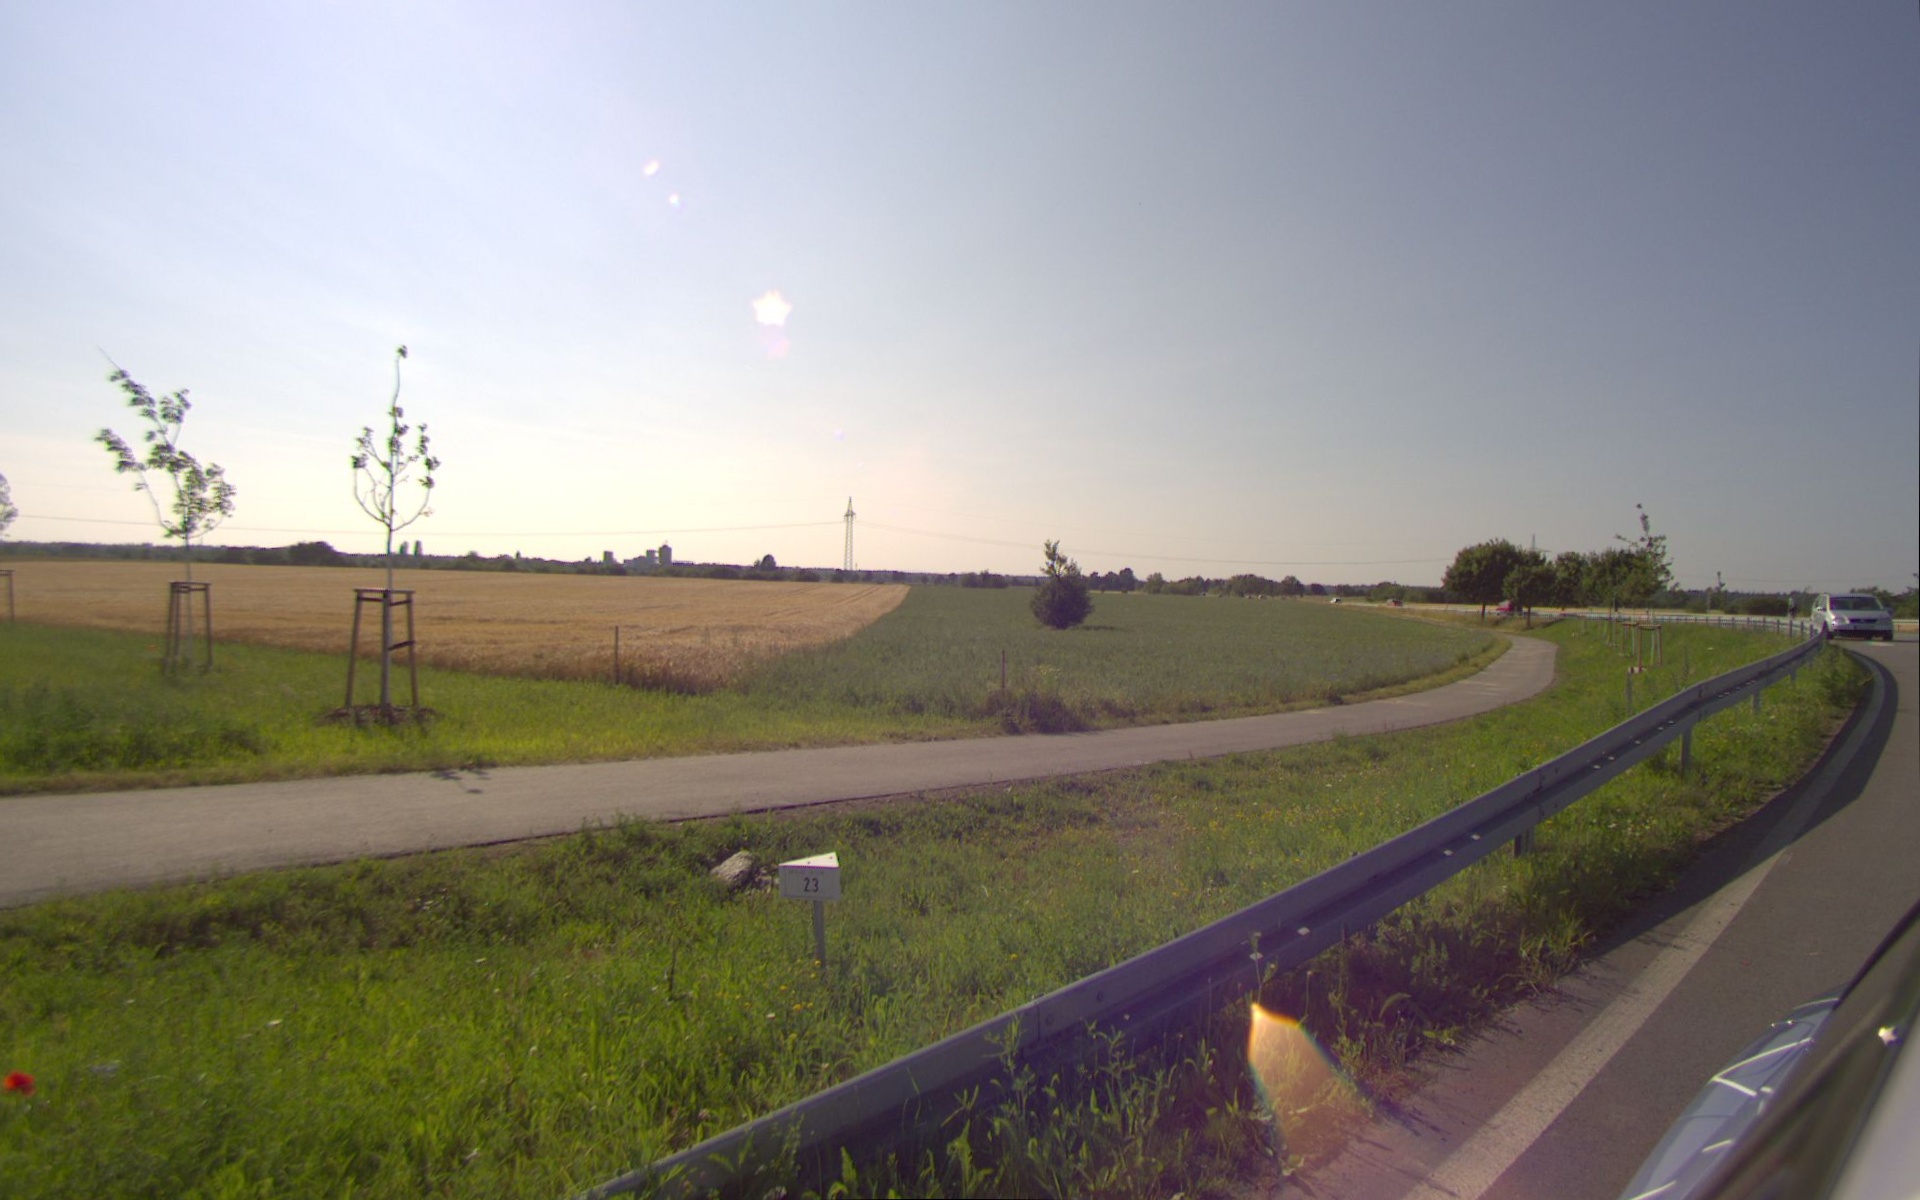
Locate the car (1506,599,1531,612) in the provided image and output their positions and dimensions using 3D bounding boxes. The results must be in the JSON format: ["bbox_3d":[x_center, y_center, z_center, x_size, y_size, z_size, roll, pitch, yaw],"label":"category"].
[{"bbox_3d":[73.008,0.725,132.307,1.788,1.694,3.984,0,0,13],"label":"car"}]

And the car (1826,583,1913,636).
[{"bbox_3d":[31.599,0.295,35.258,1.745,1.716,4.161,0,0,35],"label":"car"}]

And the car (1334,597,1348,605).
[{"bbox_3d":[85.813,0.234,228.015,1.965,1.779,3.993,1,0,6],"label":"car"}]
